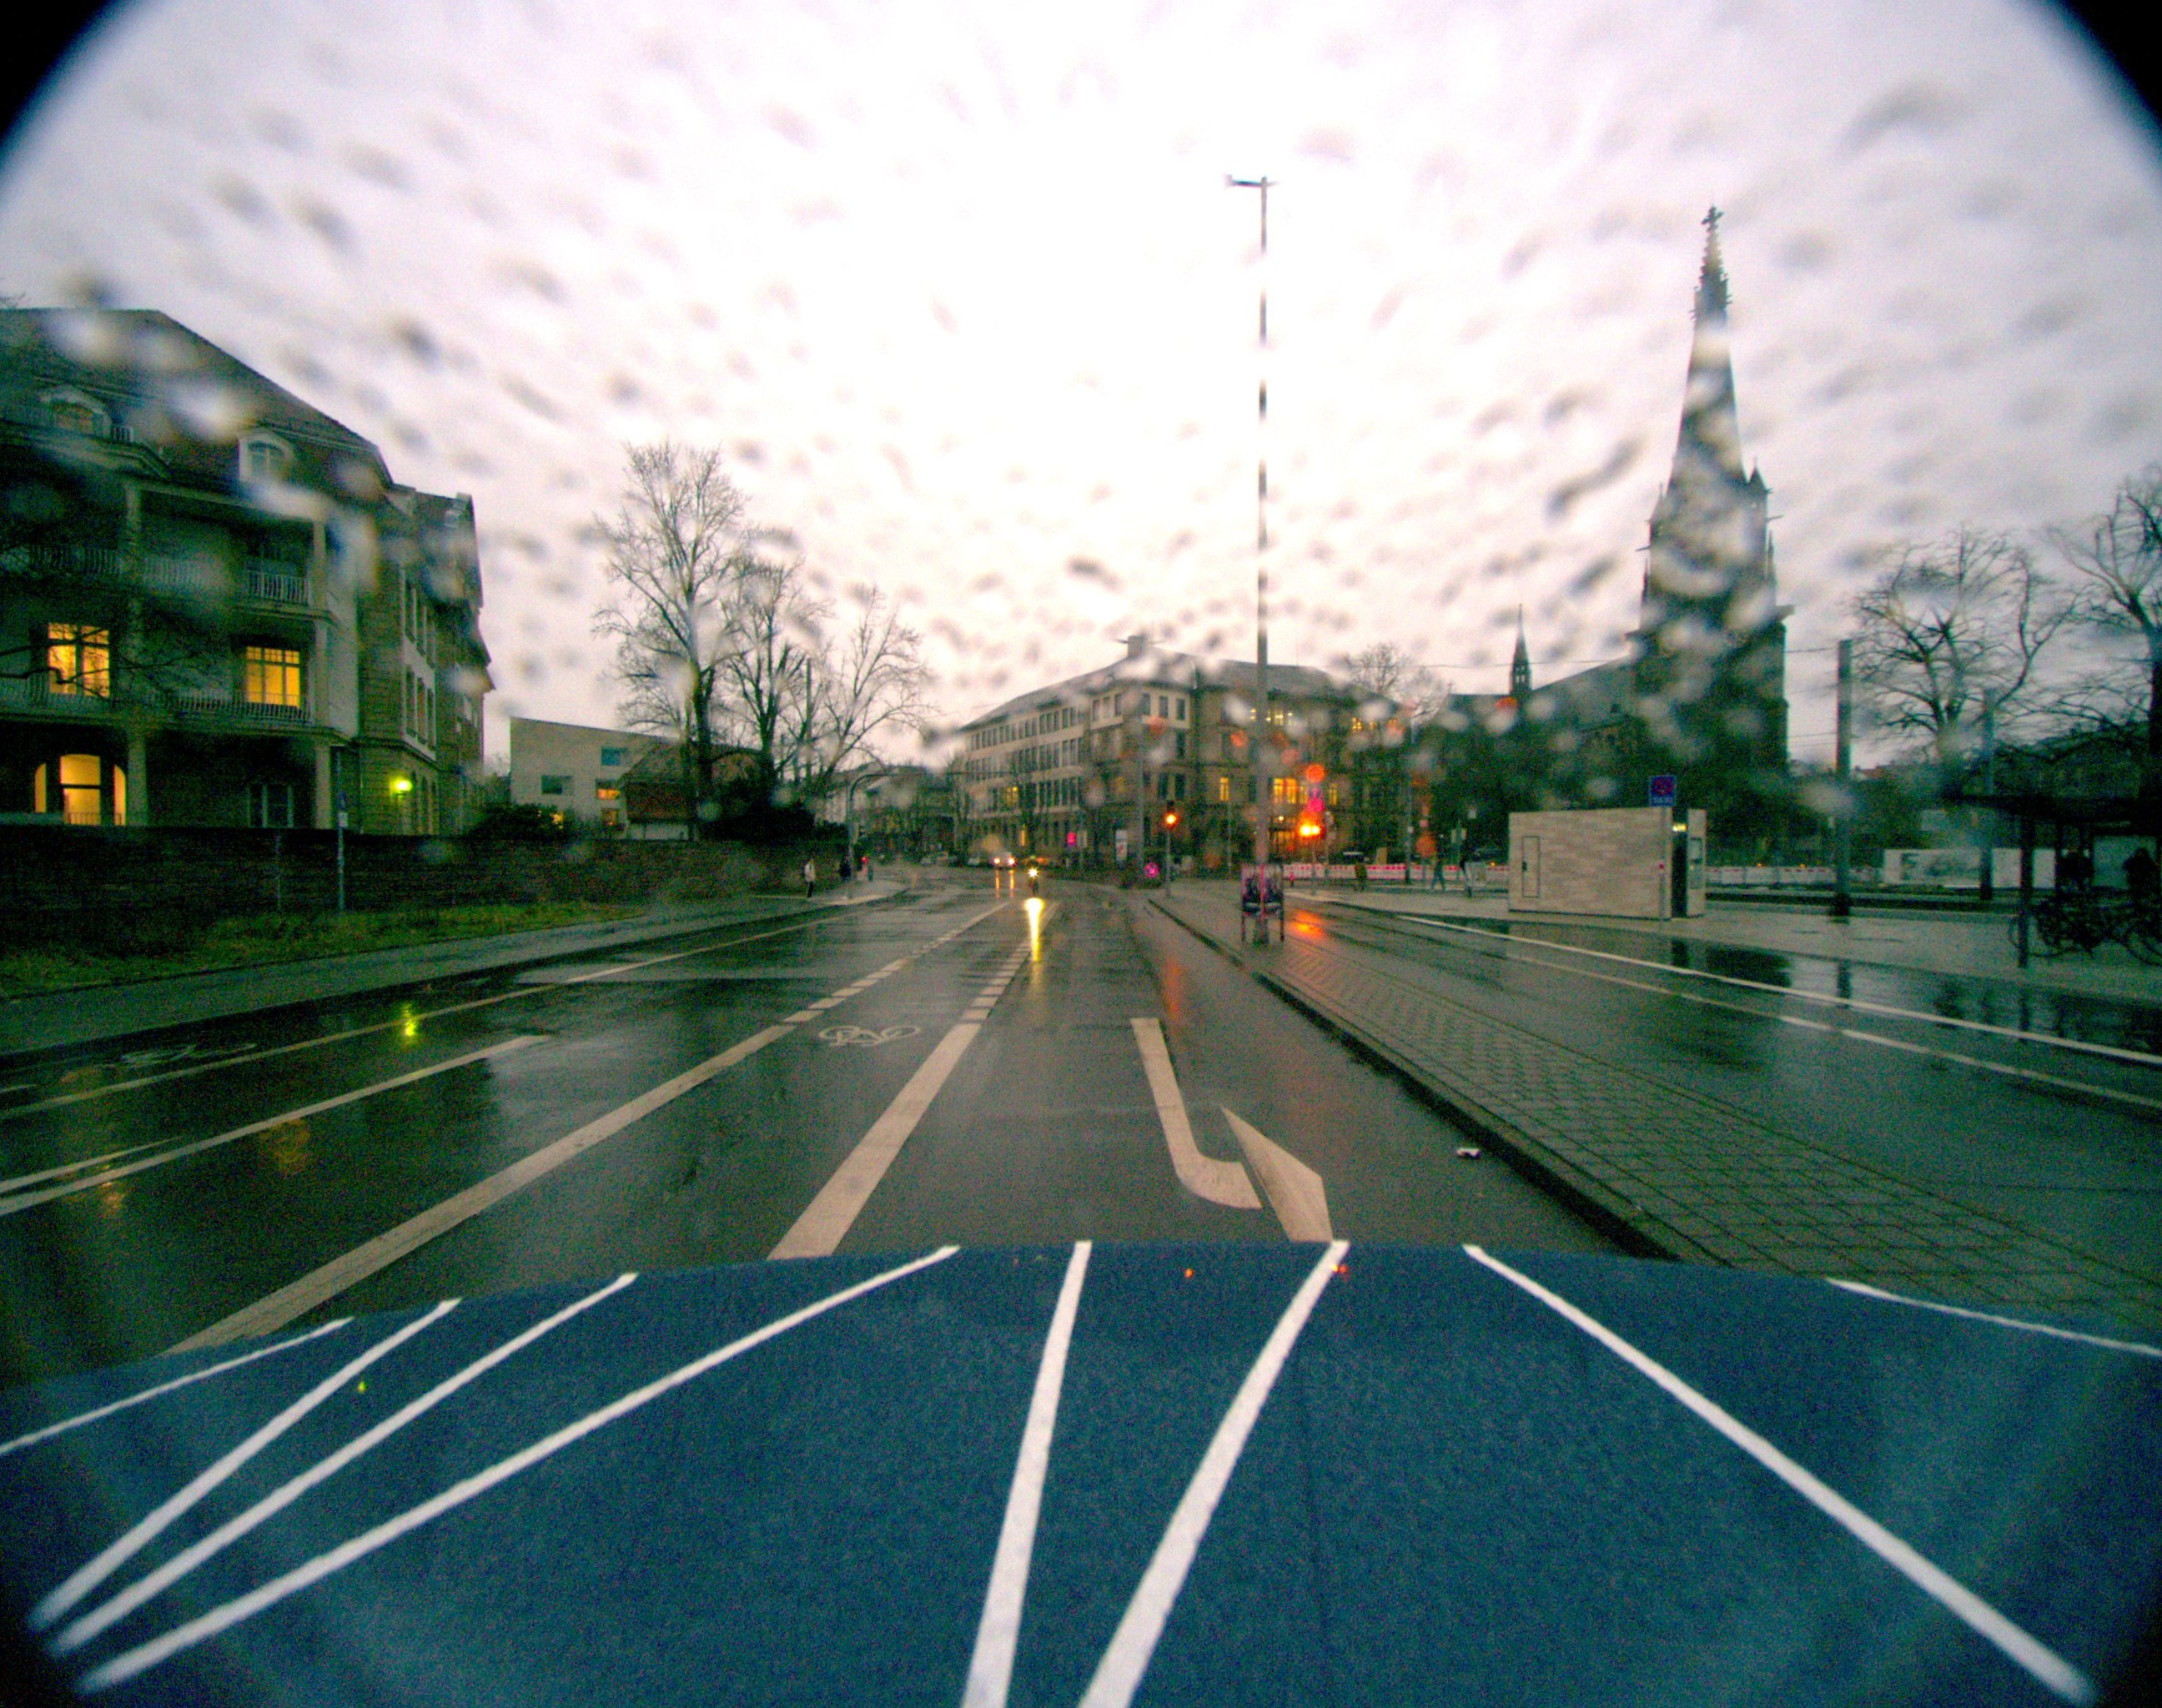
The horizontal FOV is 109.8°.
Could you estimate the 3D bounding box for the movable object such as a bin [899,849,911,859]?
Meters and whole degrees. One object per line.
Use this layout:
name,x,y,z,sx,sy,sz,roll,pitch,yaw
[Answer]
movable object such as a bin,-26.910,0.032,116.153,1.341,1.456,0.987,-1,3,19

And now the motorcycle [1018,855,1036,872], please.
motorcycle,-5.065,0.891,71.561,0.833,1.488,2.309,0,1,-29

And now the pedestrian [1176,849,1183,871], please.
pedestrian,8.924,0.541,68.967,0.571,2.003,0.587,-1,3,5

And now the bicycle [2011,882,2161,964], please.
bicycle,16.586,1.097,12.272,0.551,1.158,1.894,-3,3,-29

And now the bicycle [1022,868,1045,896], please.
bicycle,-2.013,1.187,32.299,0.723,1.084,2.286,-2,0,2

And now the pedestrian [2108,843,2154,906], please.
pedestrian,30.892,0.591,22.357,0.715,1.796,0.715,-2,2,-34

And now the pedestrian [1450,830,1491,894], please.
pedestrian,14.869,0.294,29.050,0.996,2.357,1.063,-2,3,-4

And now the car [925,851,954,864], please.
car,-19.819,0.511,106.812,1.771,1.582,4.191,0,2,27

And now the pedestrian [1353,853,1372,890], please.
pedestrian,12.951,0.801,34.981,0.673,1.665,0.731,0,3,32

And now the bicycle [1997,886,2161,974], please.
bicycle,15.574,1.131,11.607,0.551,1.158,1.938,-3,3,-29

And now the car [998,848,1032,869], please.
car,-7.323,0.447,84.342,1.908,2.022,4.809,-1,2,19

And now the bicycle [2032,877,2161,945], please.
bicycle,19.665,1.062,14.439,0.551,1.158,1.894,-3,3,-29

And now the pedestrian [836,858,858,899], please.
pedestrian,-9.548,0.991,31.041,0.792,1.666,0.729,1,1,-12

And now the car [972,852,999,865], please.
car,-12.013,0.572,95.440,1.633,1.449,3.831,-1,2,23

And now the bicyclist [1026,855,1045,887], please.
bicyclist,-1.949,0.712,32.406,0.717,1.335,0.719,-2,2,1

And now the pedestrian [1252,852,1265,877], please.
pedestrian,14.486,0.860,61.979,0.646,2.003,0.740,-3,3,-33

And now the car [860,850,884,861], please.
car,-27.752,0.139,100.601,1.756,1.370,4.354,1,0,-34

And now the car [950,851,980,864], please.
car,-15.137,0.482,99.166,1.819,1.531,3.983,0,2,29

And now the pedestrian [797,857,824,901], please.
pedestrian,-10.596,0.979,29.738,0.963,1.666,0.778,1,1,-21

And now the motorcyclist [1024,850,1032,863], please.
motorcyclist,-5.008,0.274,71.433,0.538,1.187,0.609,-3,3,-26

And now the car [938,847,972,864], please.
car,-16.832,0.181,101.522,1.961,2.042,4.629,0,2,29

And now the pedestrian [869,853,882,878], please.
pedestrian,-14.330,0.800,52.968,0.808,1.675,1.155,1,0,-16

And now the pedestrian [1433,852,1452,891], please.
pedestrian,17.229,0.815,36.236,0.604,1.803,0.826,-4,1,15

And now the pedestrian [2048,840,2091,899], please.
pedestrian,30.237,0.450,23.251,0.715,1.747,0.715,-2,2,-34
